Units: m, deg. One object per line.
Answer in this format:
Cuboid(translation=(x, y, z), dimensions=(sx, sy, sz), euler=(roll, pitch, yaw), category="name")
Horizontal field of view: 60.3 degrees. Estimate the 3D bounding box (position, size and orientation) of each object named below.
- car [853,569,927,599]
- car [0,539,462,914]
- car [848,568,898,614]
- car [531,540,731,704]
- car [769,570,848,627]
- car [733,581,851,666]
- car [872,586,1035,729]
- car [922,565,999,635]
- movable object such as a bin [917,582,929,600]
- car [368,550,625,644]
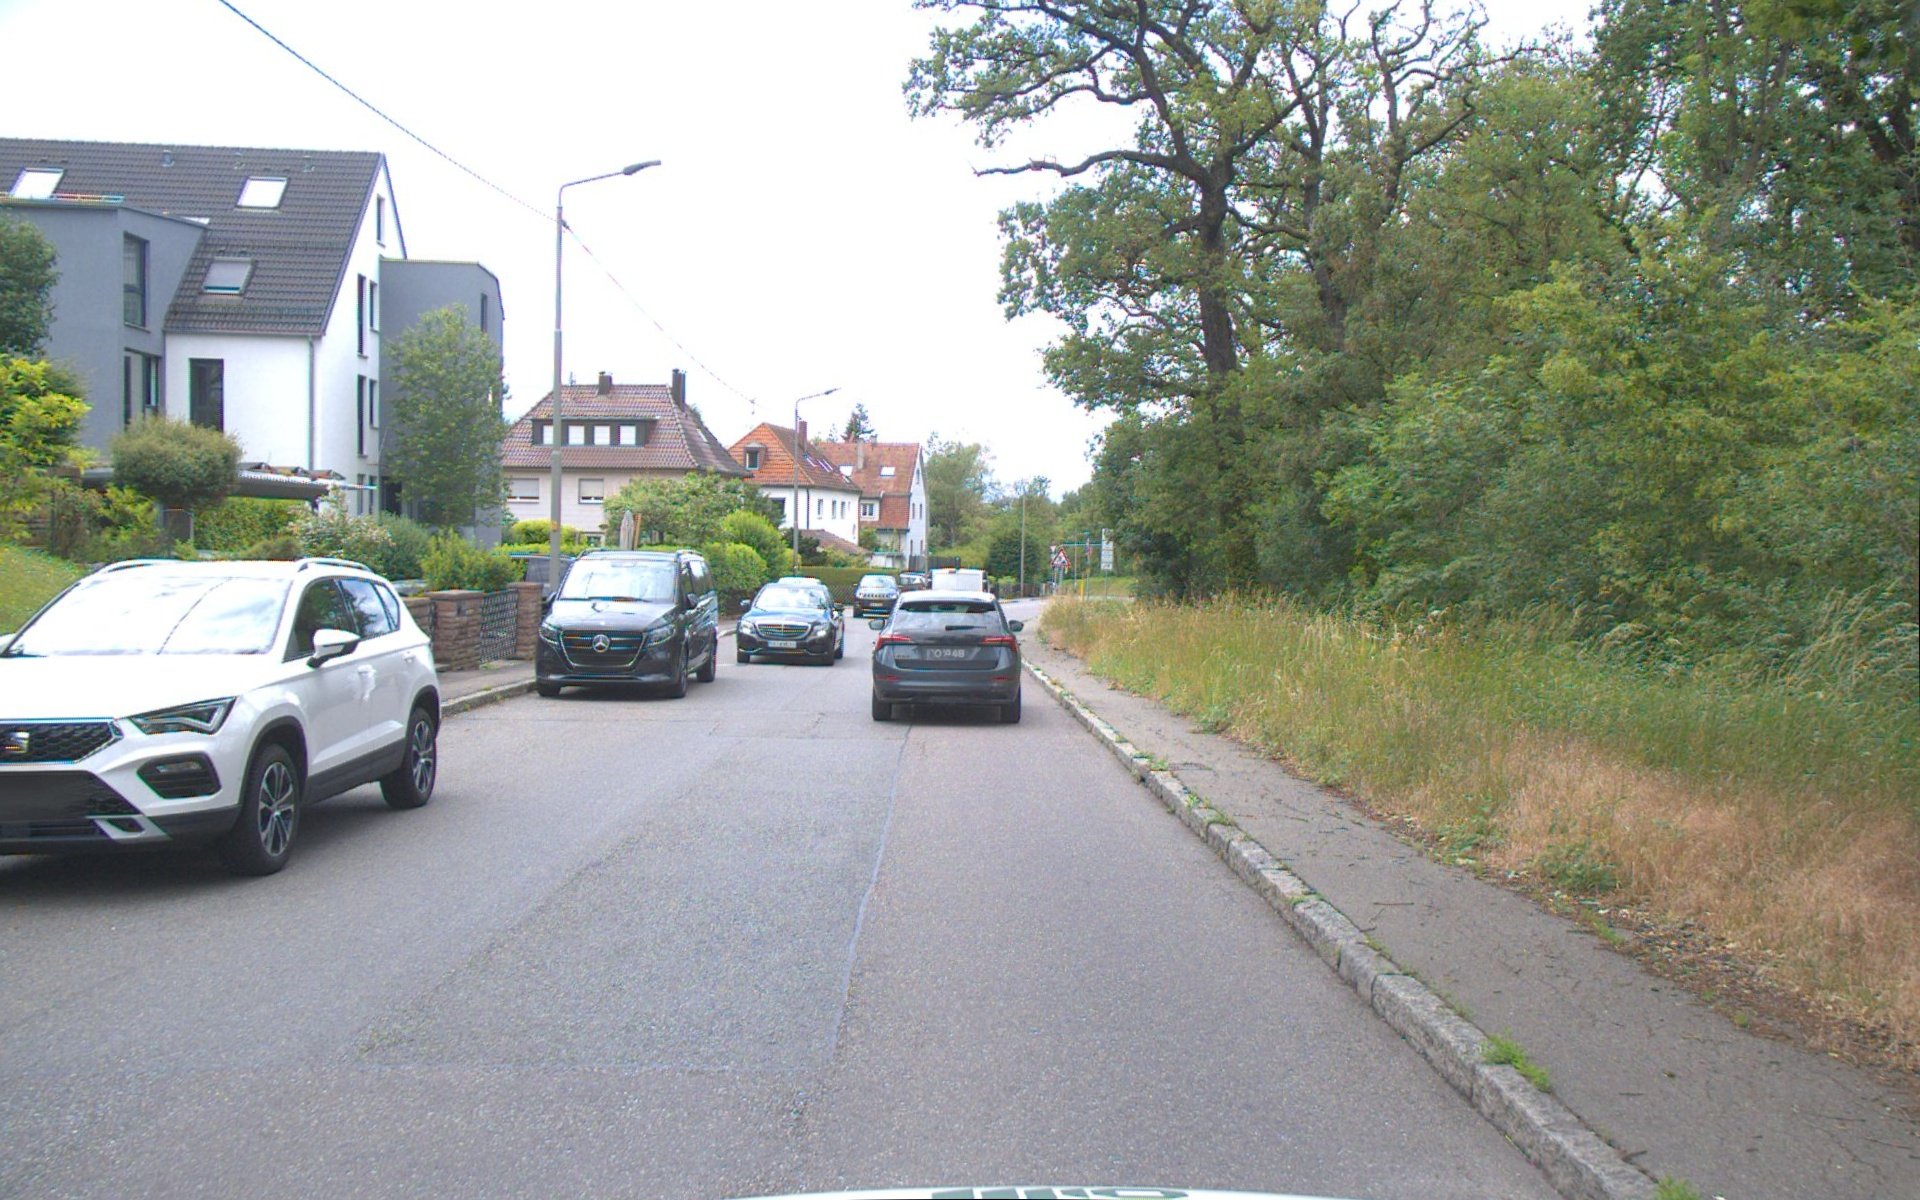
Cuboid(translation=(-3.961, -0.916, 94.237), dimensions=(3.902, 1.646, 2.002), euler=(1, 1, 8), category="car")
Cuboid(translation=(-4.351, 0.556, 9.538), dimensions=(1.801, 1.677, 4.184), euler=(-1, 1, -2), category="car")
Cuboid(translation=(-3.381, -0.383, 64.870), dimensions=(1.796, 1.624, 4.323), euler=(2, 1, -1), category="car")
Cuboid(translation=(-4.414, 0.244, 22.950), dimensions=(1.825, 1.960, 5.037), euler=(2, 1, -2), category="car")
Cuboid(translation=(-4.373, -0.073, 48.305), dimensions=(1.746, 1.526, 4.016), euler=(2, 1, 2), category="car")
Cuboid(translation=(-3.107, 0.391, 31.421), dimensions=(1.825, 1.439, 4.591), euler=(2, 1, -2), category="car")
Cuboid(translation=(-0.185, 0.603, 19.940), dimensions=(1.693, 1.464, 4.321), euler=(2, 1, -4), category="car")
Cuboid(translation=(0.069, -0.030, 50.622), dimensions=(2.028, 1.955, 4.925), euler=(2, 1, 3), category="car")
Cuboid(translation=(-2.042, -0.509, 90.586), dimensions=(0.586, 0.967, 0.580), euler=(1, 1, 6), category="movable object such as a bin")
Cuboid(translation=(-9.038, -0.064, 32.585), dimensions=(4.525, 1.727, 1.998), euler=(1, 1, -5), category="car")
